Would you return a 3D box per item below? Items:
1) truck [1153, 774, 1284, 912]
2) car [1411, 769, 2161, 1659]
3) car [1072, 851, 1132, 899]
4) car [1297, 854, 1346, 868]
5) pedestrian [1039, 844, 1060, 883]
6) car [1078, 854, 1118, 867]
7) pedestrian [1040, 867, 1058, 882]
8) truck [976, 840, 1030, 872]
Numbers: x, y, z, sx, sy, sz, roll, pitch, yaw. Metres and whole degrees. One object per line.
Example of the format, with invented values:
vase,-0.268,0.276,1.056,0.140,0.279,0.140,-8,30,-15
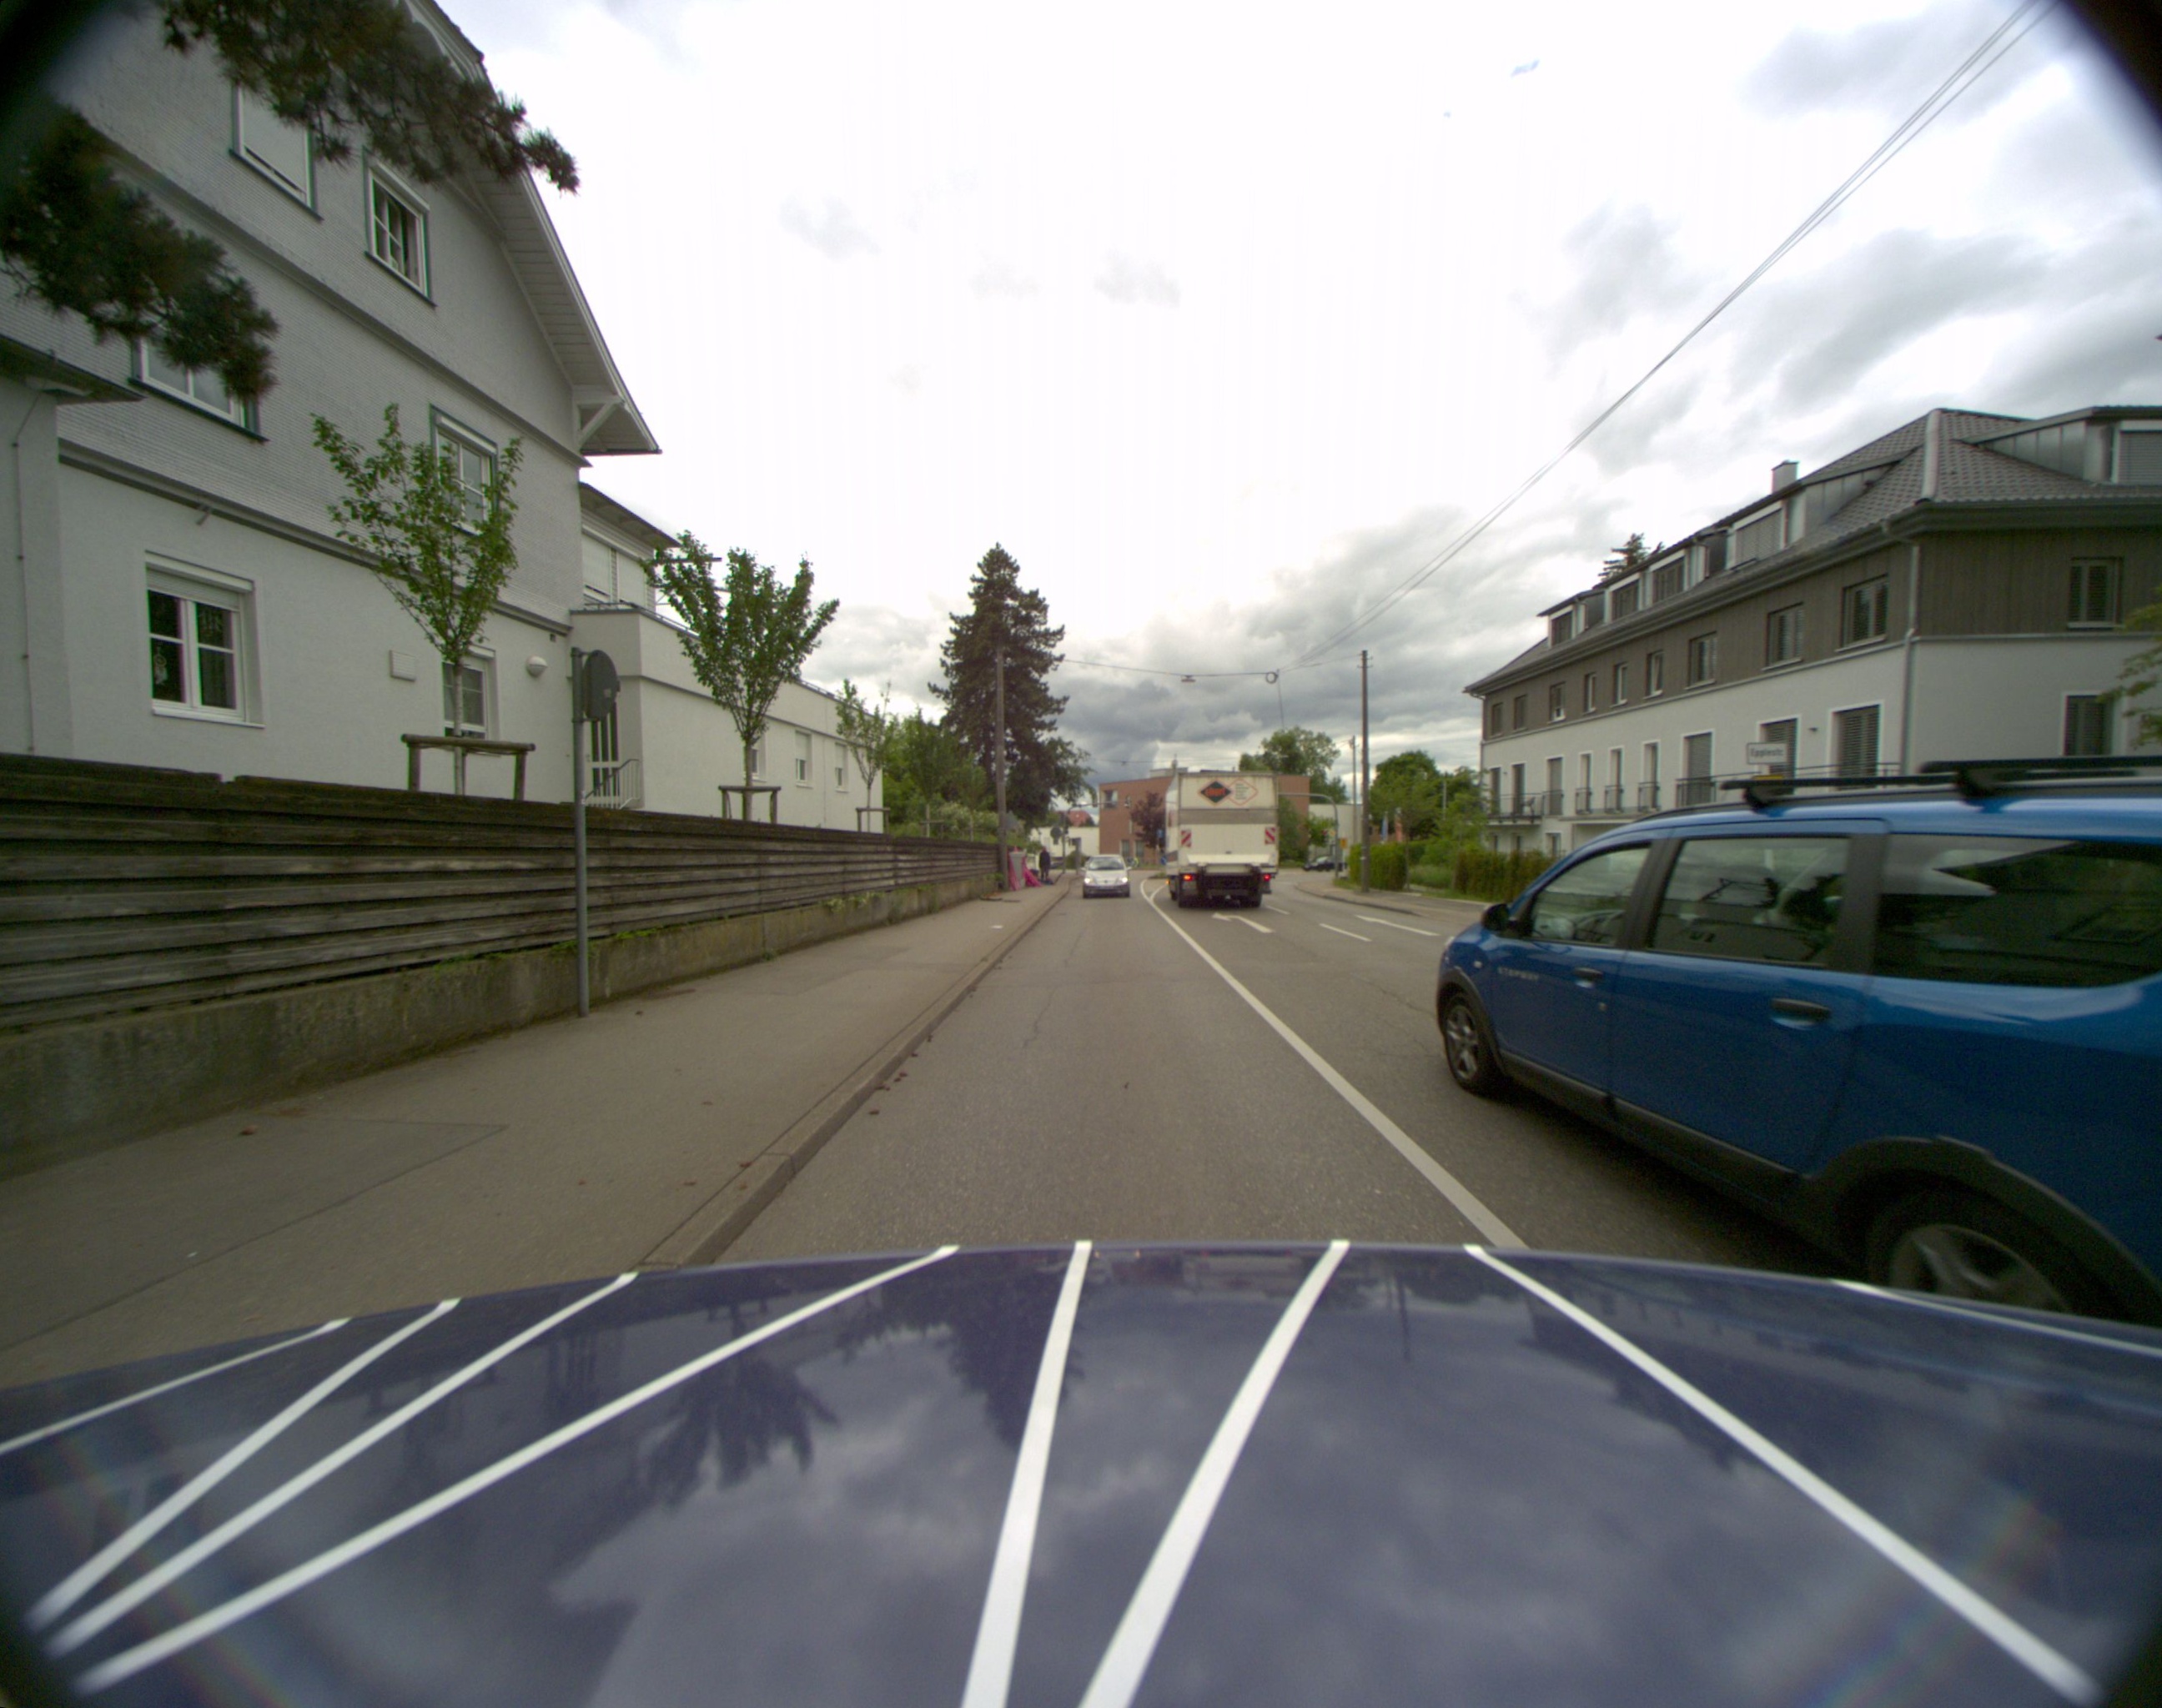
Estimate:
truck,3.802,-0.354,22.831,2.784,3.441,7.493,0,1,2
car,3.035,0.663,2.902,1.810,1.707,4.379,-1,1,3
car,0.803,0.701,27.678,1.998,1.586,4.001,-1,0,3
car,22.627,0.661,71.560,4.004,1.237,1.996,-1,1,-20
pedestrian,-1.598,0.480,38.061,0.849,1.912,0.800,-1,1,-18
car,2.027,0.763,91.889,4.442,1.549,1.996,0,0,-23
pedestrian,-1.531,0.993,36.877,0.648,0.692,0.583,-1,1,-40
truck,-6.209,0.151,59.903,2.407,2.338,6.176,-1,0,-24
